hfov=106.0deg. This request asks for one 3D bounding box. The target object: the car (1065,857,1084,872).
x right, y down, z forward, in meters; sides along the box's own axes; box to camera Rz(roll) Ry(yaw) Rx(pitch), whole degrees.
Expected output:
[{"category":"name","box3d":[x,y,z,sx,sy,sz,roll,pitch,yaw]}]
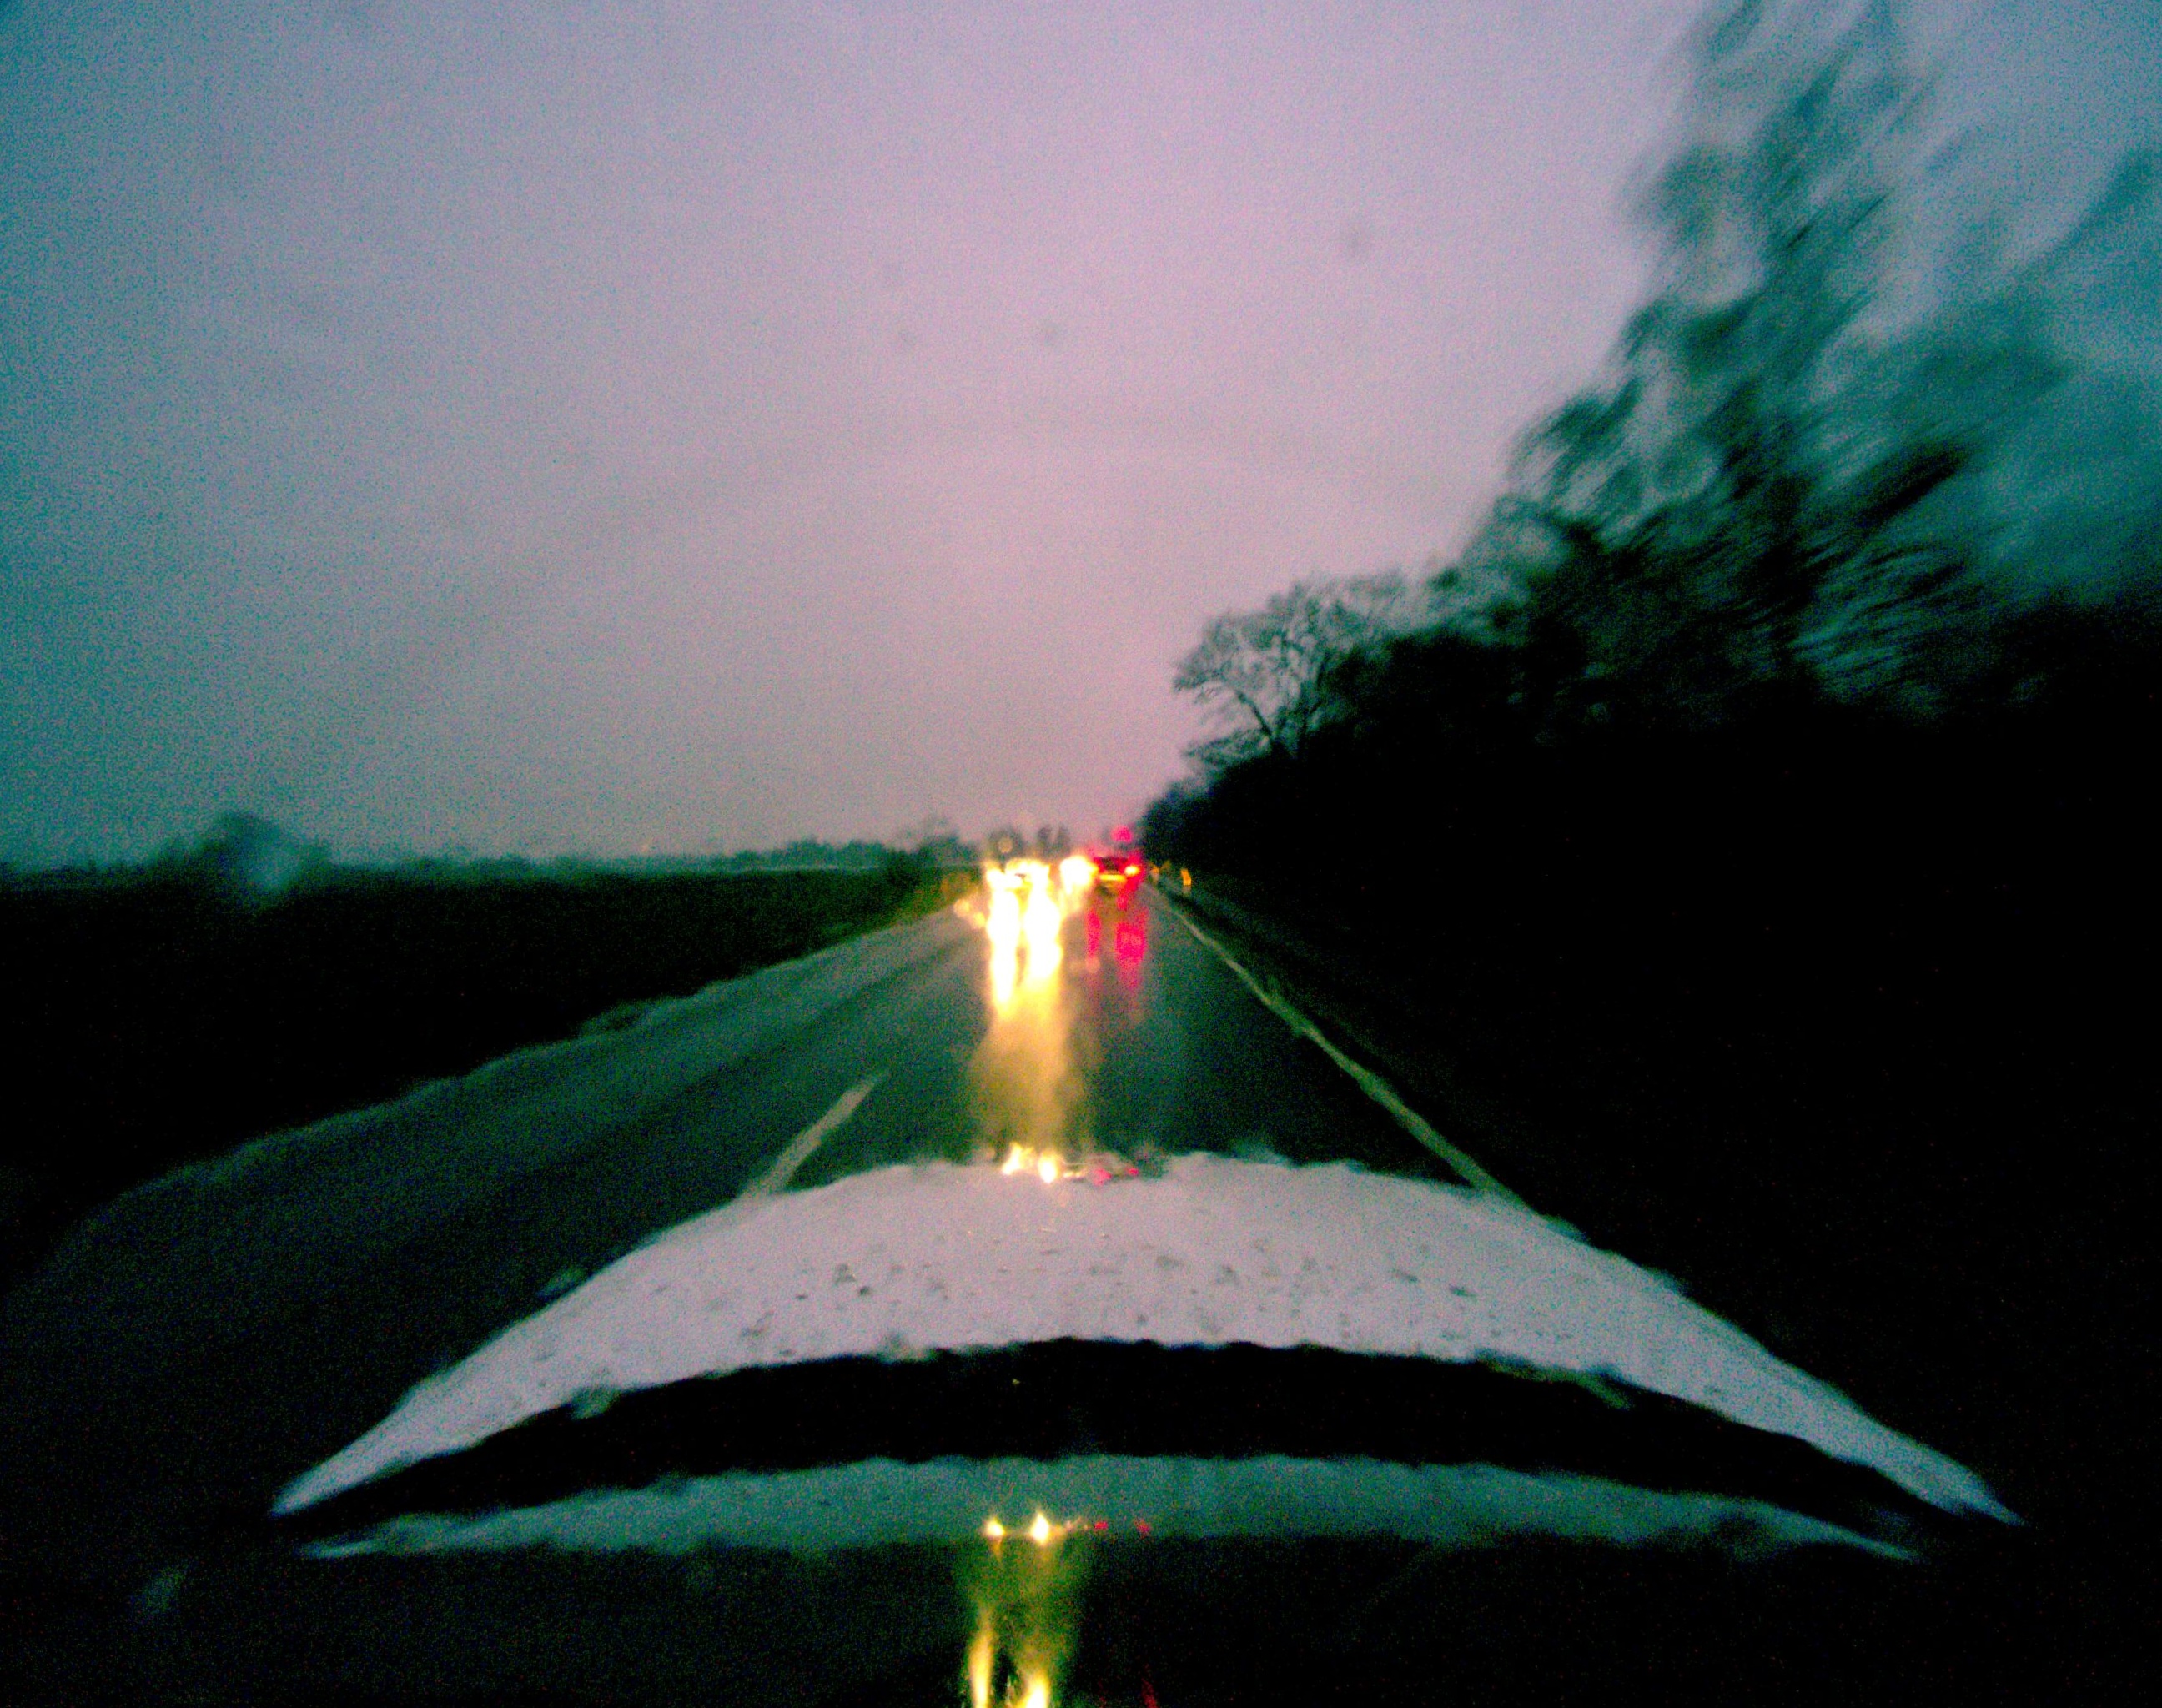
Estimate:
[{"category":"car","box3d":[-0.757,1.195,95.206,1.986,1.463,4.353,-5,-1,1]}]

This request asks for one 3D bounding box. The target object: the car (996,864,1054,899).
[{"category":"car","box3d":[-2.278,1.113,34.366,1.986,1.372,4.399,-1,-1,2]}]

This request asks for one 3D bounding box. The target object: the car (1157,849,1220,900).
[{"category":"car","box3d":[3.907,0.735,30.220,1.921,1.750,4.001,-1,-1,2]}]

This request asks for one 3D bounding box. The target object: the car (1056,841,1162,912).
[{"category":"car","box3d":[0.968,0.670,28.160,3.152,2.035,6.855,-2,0,2]}]
